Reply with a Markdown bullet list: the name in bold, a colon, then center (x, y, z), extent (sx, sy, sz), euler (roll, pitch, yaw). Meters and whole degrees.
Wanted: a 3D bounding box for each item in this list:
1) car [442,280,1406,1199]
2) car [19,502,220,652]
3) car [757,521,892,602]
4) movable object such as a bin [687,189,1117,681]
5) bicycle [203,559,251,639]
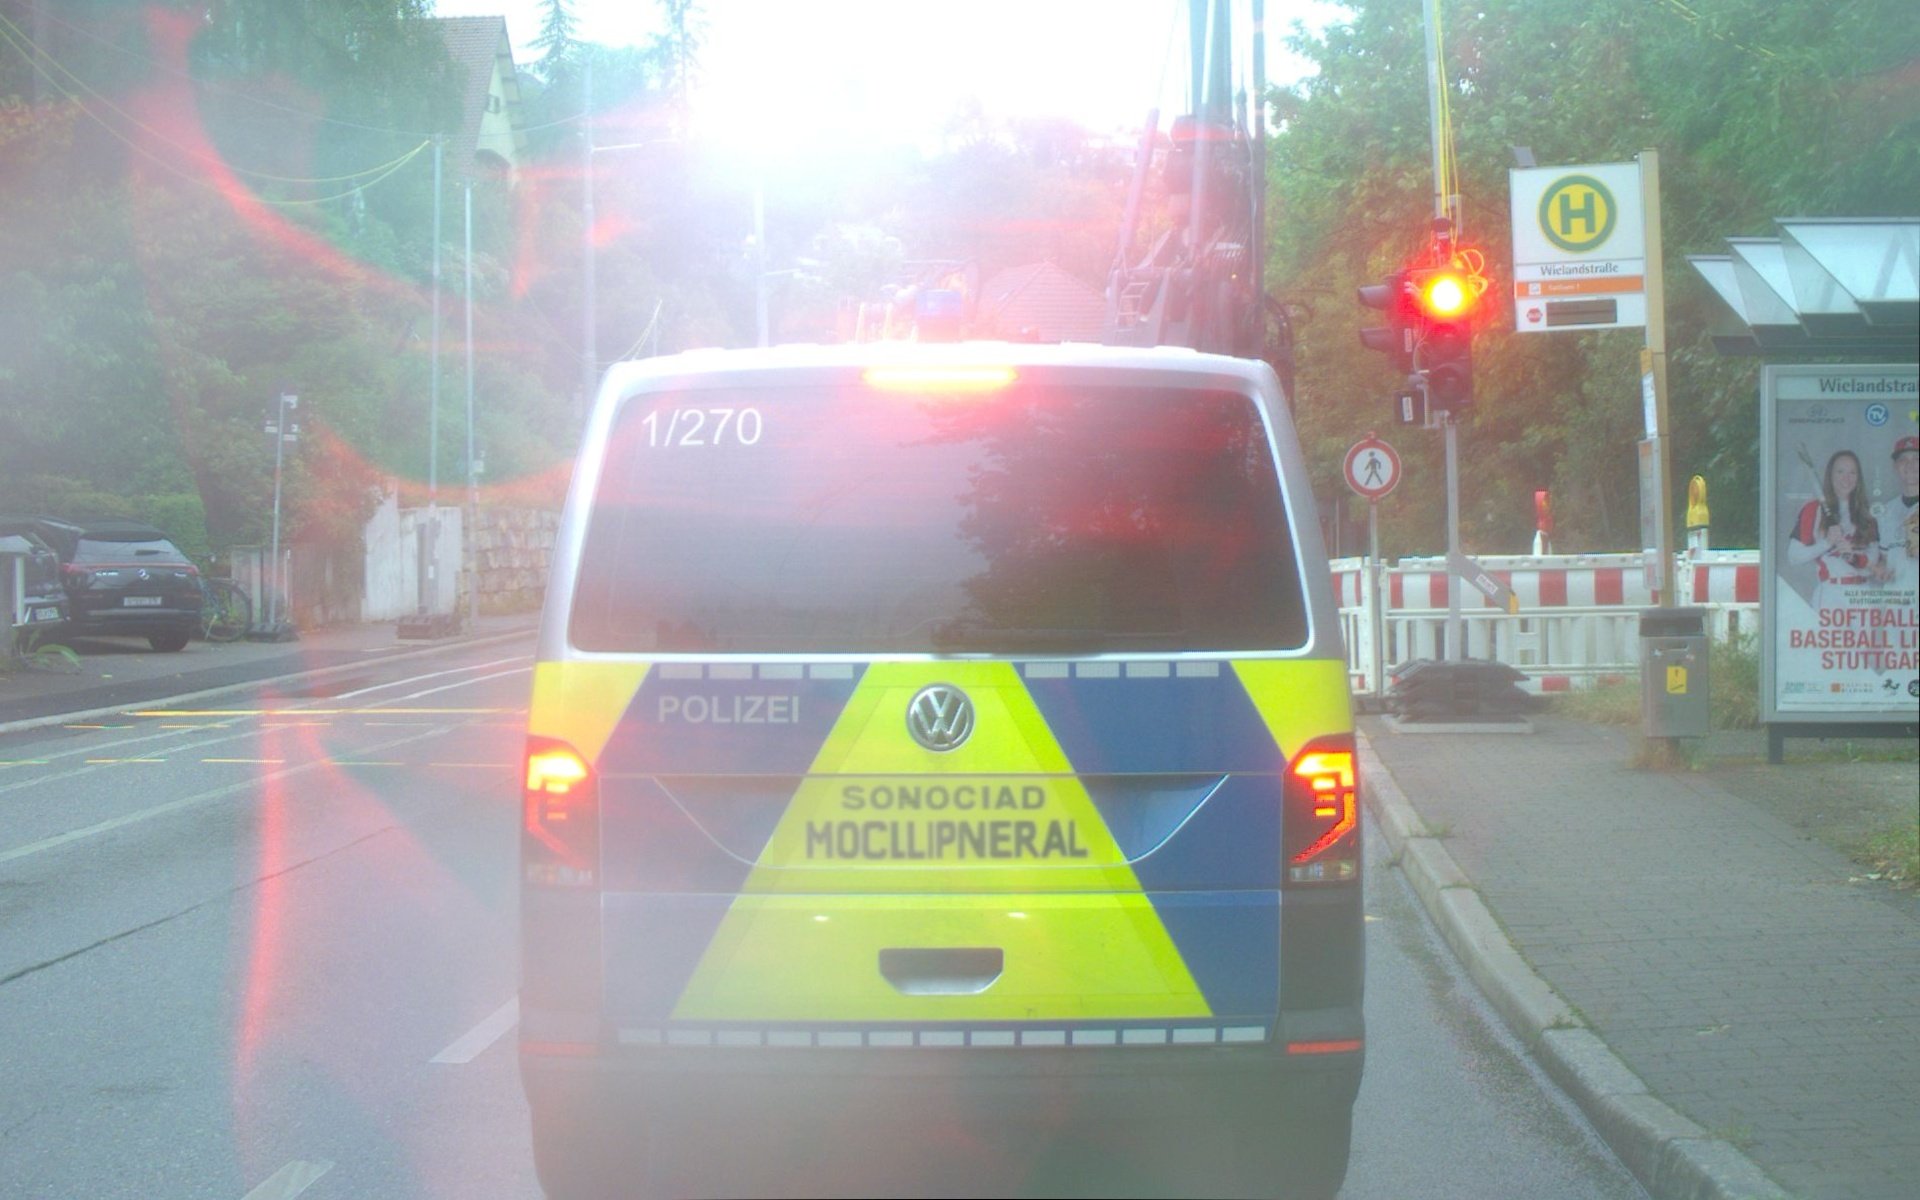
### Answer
- **car**: center (-0.097, 0.359, 8.841), extent (1.893, 2.043, 4.000), euler (1, 1, -1)
- **car**: center (-9.330, -0.282, 37.982), extent (1.765, 1.481, 3.743), euler (1, 3, -20)
- **car**: center (-2.637, -0.753, 68.038), extent (1.853, 1.522, 4.818), euler (1, 1, 7)
- **movable object such as a bin**: center (-0.427, -1.461, 31.640), extent (2.832, 4.163, 4.378), euler (1, 1, 15)
- **bicycle**: center (-8.449, -0.022, 39.600), extent (0.462, 0.894, 1.634), euler (0, 1, -15)
